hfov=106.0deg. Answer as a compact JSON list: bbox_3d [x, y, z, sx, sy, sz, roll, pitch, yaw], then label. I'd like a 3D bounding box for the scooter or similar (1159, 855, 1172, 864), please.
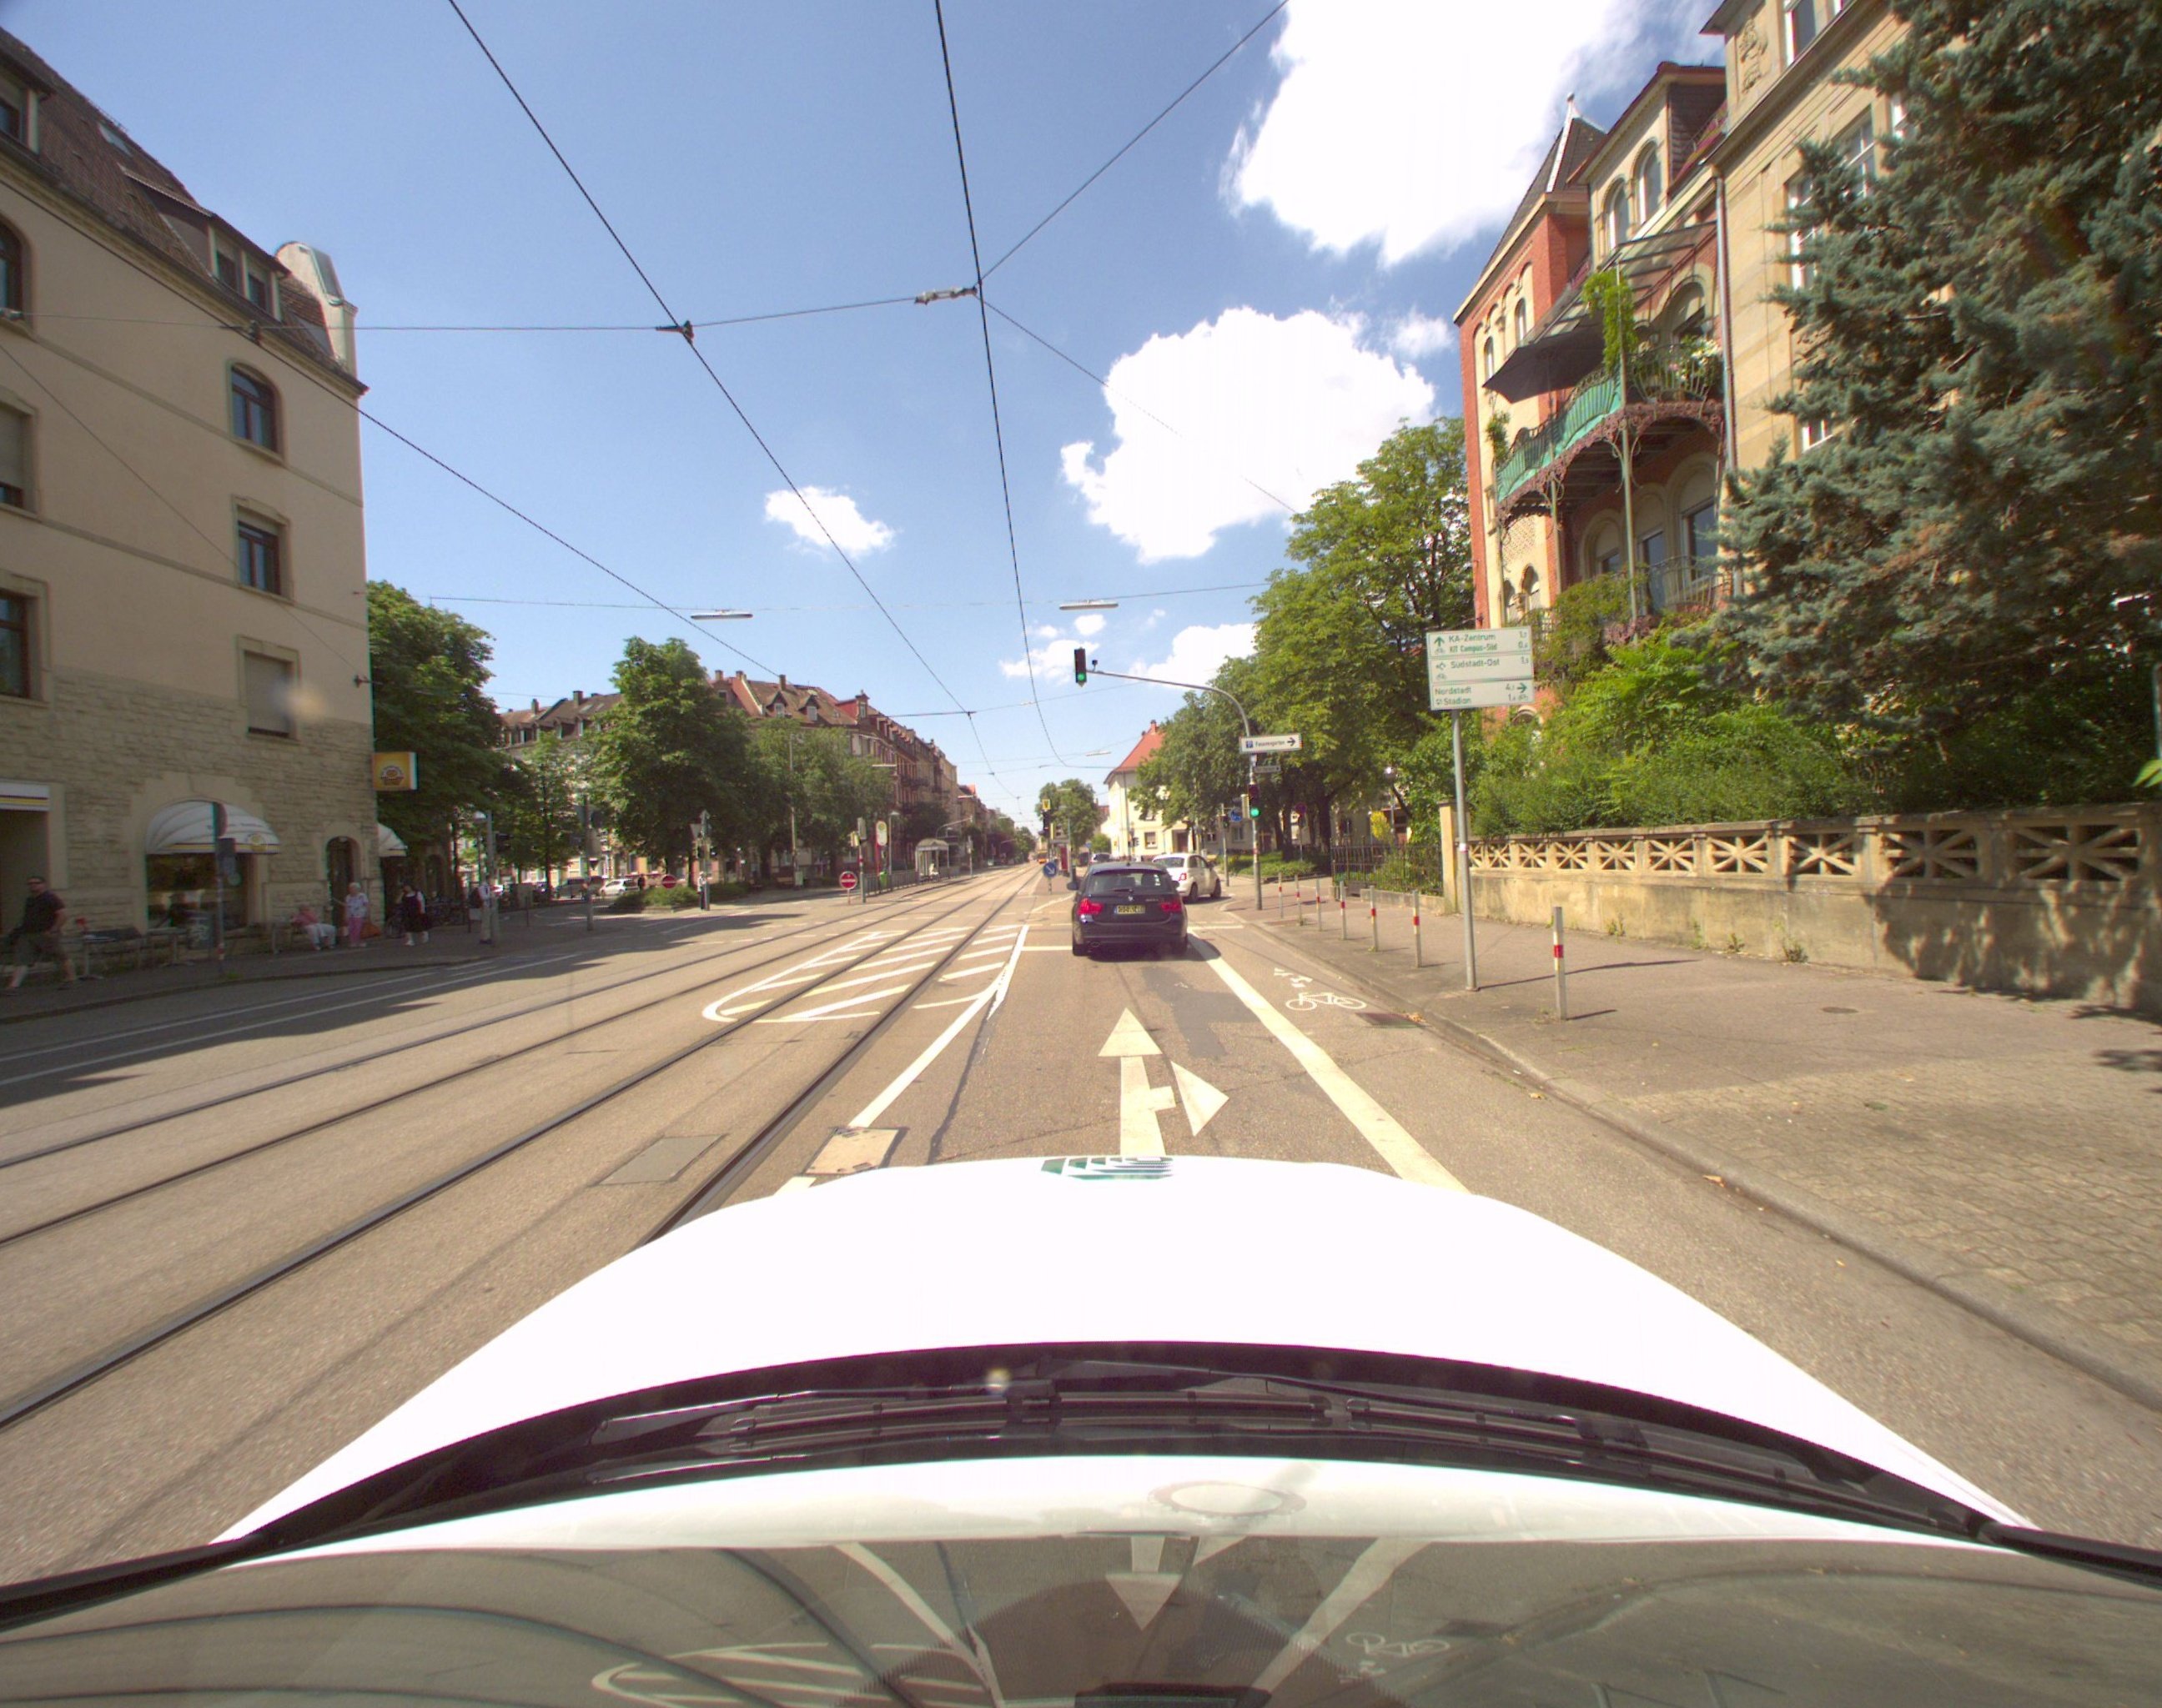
[{"bbox_3d":[8.743,0.554,84.322,1.311,0.837,0.525,-3,0,-8],"label":"scooter or similar"}]

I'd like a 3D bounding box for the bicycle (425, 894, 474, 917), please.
[{"bbox_3d":[-32.850,2.692,42.385,1.859,1.032,0.540,-3,0,-25],"label":"bicycle"}]

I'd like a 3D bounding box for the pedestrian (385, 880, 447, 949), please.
[{"bbox_3d":[-16.756,1.497,20.542,0.863,1.635,1.020,-2,0,-19],"label":"pedestrian"}]

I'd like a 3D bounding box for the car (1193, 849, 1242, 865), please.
[{"bbox_3d":[12.078,0.267,72.128,3.948,1.243,1.634,-3,0,33],"label":"car"}]

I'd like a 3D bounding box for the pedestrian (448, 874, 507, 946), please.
[{"bbox_3d":[-15.194,1.404,20.533,0.857,1.732,0.775,-2,0,0],"label":"pedestrian"}]

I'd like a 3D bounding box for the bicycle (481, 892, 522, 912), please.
[{"bbox_3d":[-34.577,2.843,48.626,1.859,1.032,0.540,-3,0,-25],"label":"bicycle"}]

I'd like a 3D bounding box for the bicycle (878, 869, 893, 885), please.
[{"bbox_3d":[-15.023,1.753,62.637,0.727,1.101,1.713,-3,0,-3],"label":"bicycle"}]

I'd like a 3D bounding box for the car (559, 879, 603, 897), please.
[{"bbox_3d":[-46.288,3.147,75.439,3.429,1.471,1.694,-3,0,22],"label":"car"}]

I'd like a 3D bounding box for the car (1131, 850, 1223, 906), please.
[{"bbox_3d":[3.034,0.697,25.097,1.669,1.484,3.706,-3,0,25],"label":"car"}]

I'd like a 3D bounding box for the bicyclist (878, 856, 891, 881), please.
[{"bbox_3d":[-15.081,1.125,62.663,0.720,1.870,0.825,-3,0,-2],"label":"bicyclist"}]

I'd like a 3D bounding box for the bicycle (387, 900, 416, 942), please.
[{"bbox_3d":[-19.217,1.891,23.047,0.547,1.128,1.663,-2,-2,-39],"label":"bicycle"}]

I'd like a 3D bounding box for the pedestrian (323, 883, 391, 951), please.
[{"bbox_3d":[-17.994,1.542,20.252,0.805,1.594,0.918,-3,0,-4],"label":"pedestrian"}]

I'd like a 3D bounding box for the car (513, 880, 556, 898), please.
[{"bbox_3d":[-52.165,3.357,77.717,3.429,1.471,1.694,-3,0,22],"label":"car"}]

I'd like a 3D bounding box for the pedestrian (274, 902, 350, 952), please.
[{"bbox_3d":[-18.514,1.751,19.628,0.913,1.077,0.882,-3,0,-1],"label":"pedestrian"}]

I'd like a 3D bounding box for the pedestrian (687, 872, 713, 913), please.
[{"bbox_3d":[-16.512,1.655,35.332,0.843,1.723,0.910,-3,0,-32],"label":"pedestrian"}]

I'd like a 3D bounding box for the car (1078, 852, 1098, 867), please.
[{"bbox_3d":[0.886,0.672,105.514,1.991,1.848,3.992,-3,0,-5],"label":"car"}]

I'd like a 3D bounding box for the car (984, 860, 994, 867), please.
[{"bbox_3d":[-20.246,2.099,179.396,1.788,1.586,3.985,-1,-1,-10],"label":"car"}]

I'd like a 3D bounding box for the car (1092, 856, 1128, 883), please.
[{"bbox_3d":[1.532,0.815,43.990,1.686,1.323,3.819,-3,0,-1],"label":"car"}]

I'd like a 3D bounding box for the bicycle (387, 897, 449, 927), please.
[{"bbox_3d":[-26.531,2.318,32.606,1.866,1.032,0.538,-3,0,-42],"label":"bicycle"}]

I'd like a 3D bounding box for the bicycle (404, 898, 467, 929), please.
[{"bbox_3d":[-24.424,2.237,30.855,0.537,1.032,1.743,-3,0,31],"label":"bicycle"}]

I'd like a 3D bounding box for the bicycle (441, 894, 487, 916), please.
[{"bbox_3d":[-33.308,2.724,43.999,1.859,1.032,0.540,-3,0,-25],"label":"bicycle"}]

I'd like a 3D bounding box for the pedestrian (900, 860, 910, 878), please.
[{"bbox_3d":[-18.782,1.607,87.090,0.632,1.811,0.745,-3,0,32],"label":"pedestrian"}]

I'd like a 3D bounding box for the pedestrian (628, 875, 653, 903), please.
[{"bbox_3d":[-30.554,2.446,56.516,0.992,1.868,1.021,-3,0,13],"label":"pedestrian"}]

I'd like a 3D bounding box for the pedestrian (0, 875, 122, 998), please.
[{"bbox_3d":[-16.966,1.314,13.416,0.898,1.891,1.163,-2,0,-3],"label":"pedestrian"}]

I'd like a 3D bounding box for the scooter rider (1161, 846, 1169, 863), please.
[{"bbox_3d":[8.705,0.054,84.336,0.590,1.687,0.527,-3,0,-7],"label":"scooter rider"}]

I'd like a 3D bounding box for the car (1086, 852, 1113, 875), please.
[{"bbox_3d":[1.325,0.675,59.198,1.687,1.514,3.819,-3,0,-2],"label":"car"}]

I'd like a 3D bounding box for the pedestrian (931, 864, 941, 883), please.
[{"bbox_3d":[-9.840,1.301,55.230,0.613,1.243,0.626,-3,0,-8],"label":"pedestrian"}]

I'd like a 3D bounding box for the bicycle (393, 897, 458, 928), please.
[{"bbox_3d":[-25.503,2.278,31.710,0.537,1.032,1.868,-3,0,31],"label":"bicycle"}]

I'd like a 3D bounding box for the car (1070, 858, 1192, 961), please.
[{"bbox_3d":[0.772,0.801,13.835,1.716,1.409,4.566,-1,0,1],"label":"car"}]

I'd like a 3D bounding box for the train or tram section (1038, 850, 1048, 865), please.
[{"bbox_3d":[-9.242,0.773,199.116,2.185,3.482,8.837,-3,0,-2],"label":"train or tram section"}]

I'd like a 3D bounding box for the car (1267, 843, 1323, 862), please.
[{"bbox_3d":[17.463,-0.143,66.652,1.799,1.328,4.293,-3,0,-34],"label":"car"}]

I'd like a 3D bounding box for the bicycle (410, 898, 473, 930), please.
[{"bbox_3d":[-23.892,2.217,30.440,0.537,1.032,1.743,-3,0,31],"label":"bicycle"}]

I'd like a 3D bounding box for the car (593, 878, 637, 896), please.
[{"bbox_3d":[-42.508,3.024,74.314,3.429,1.471,1.694,-3,0,22],"label":"car"}]
